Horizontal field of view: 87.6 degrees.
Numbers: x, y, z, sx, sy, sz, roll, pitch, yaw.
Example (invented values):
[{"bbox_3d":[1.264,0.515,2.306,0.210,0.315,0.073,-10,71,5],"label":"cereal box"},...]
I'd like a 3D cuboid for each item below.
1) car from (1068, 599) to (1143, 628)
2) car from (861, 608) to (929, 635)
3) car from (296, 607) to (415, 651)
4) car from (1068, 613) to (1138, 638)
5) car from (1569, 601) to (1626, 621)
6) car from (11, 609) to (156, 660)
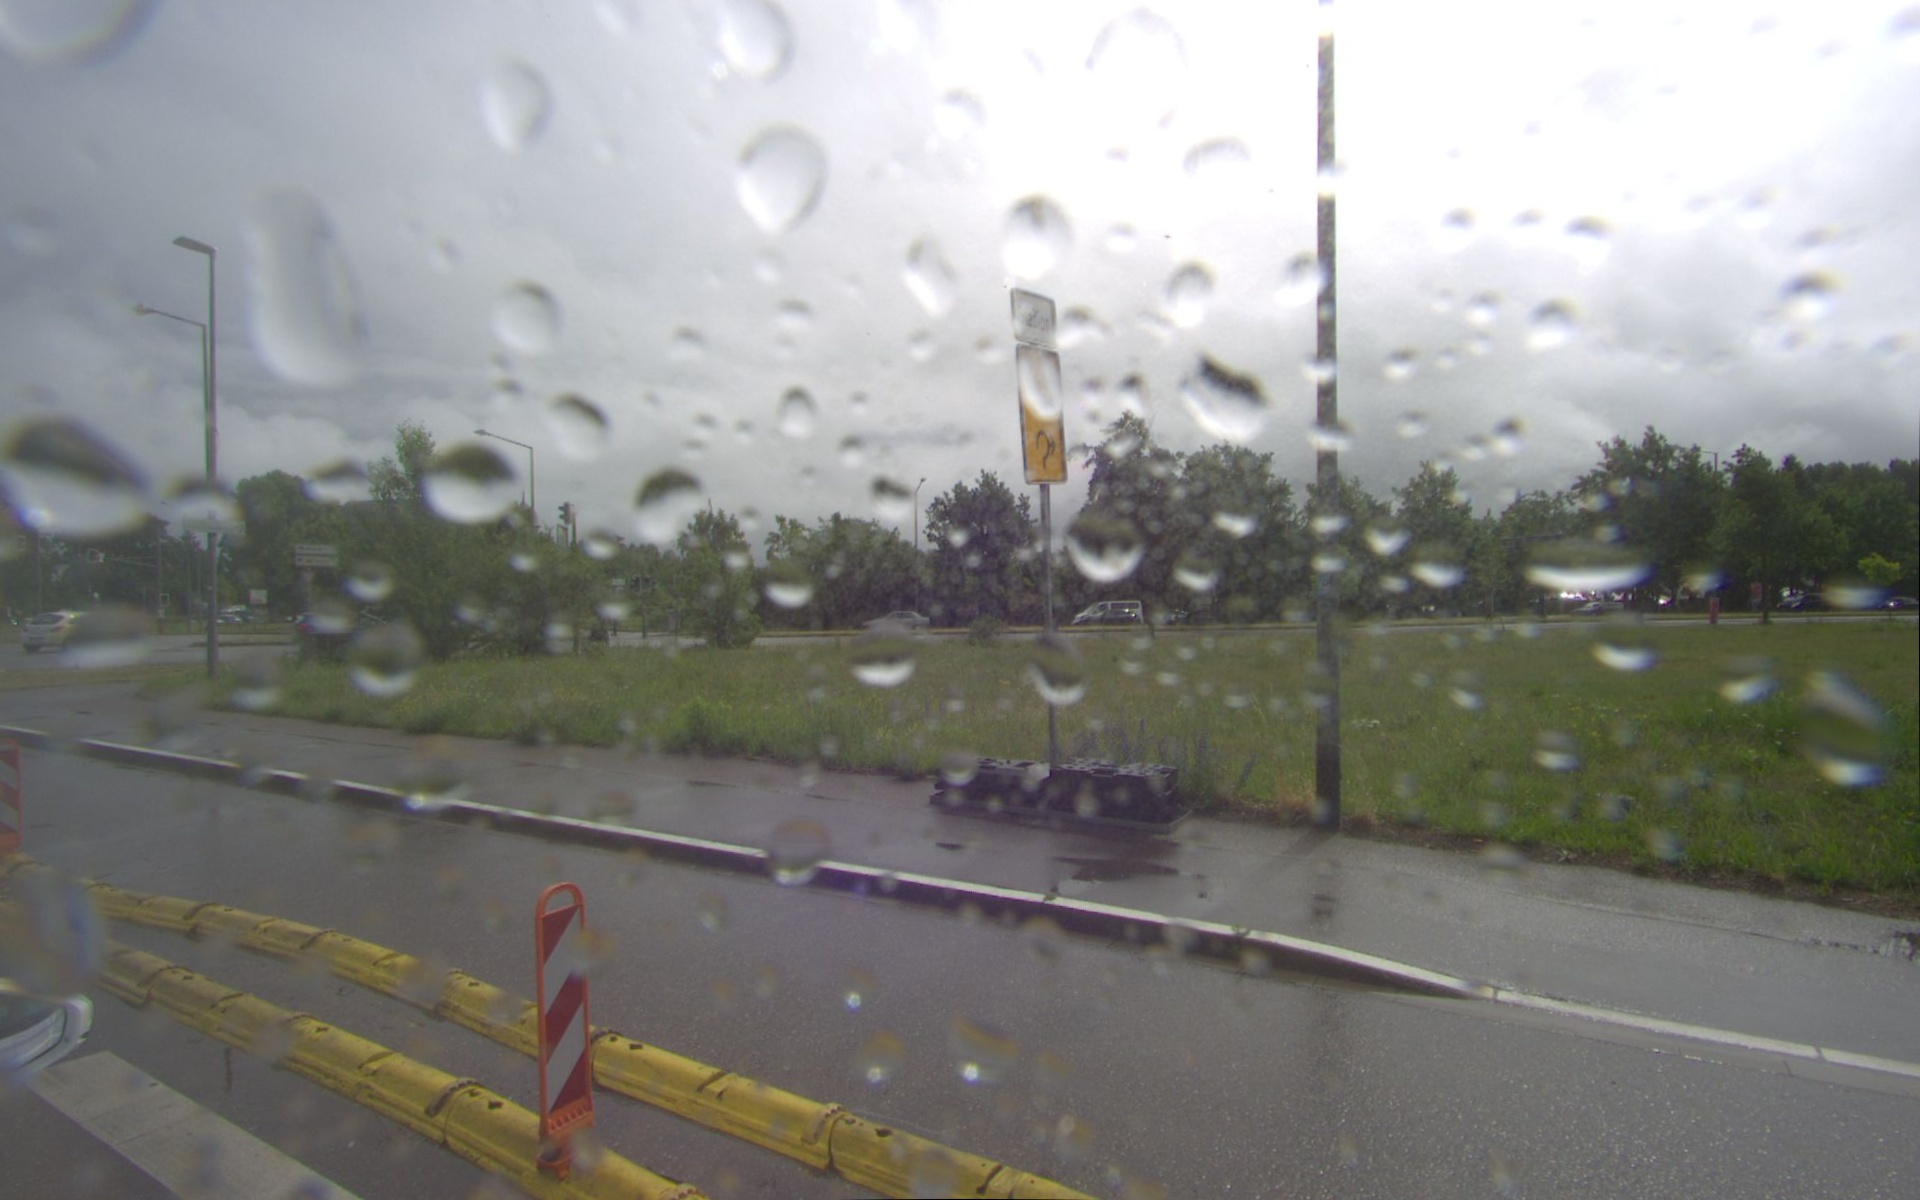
[{"bbox_3d":[10.221,0.949,70.350,4.872,1.944,1.997,0,0,-15],"label":"car"},{"bbox_3d":[-4.120,1.342,63.155,4.038,1.581,1.912,0,0,-12],"label":"car"},{"bbox_3d":[-24.015,1.131,39.850,3.908,1.666,1.658,0,0,-38],"label":"car"},{"bbox_3d":[9.477,1.710,66.612,4.227,1.581,1.911,0,0,-15],"label":"car"},{"bbox_3d":[51.860,0.920,81.454,4.158,1.579,1.541,0,0,-14],"label":"car"},{"bbox_3d":[-34.151,1.309,39.168,1.961,1.854,3.999,0,0,6],"label":"car"}]
